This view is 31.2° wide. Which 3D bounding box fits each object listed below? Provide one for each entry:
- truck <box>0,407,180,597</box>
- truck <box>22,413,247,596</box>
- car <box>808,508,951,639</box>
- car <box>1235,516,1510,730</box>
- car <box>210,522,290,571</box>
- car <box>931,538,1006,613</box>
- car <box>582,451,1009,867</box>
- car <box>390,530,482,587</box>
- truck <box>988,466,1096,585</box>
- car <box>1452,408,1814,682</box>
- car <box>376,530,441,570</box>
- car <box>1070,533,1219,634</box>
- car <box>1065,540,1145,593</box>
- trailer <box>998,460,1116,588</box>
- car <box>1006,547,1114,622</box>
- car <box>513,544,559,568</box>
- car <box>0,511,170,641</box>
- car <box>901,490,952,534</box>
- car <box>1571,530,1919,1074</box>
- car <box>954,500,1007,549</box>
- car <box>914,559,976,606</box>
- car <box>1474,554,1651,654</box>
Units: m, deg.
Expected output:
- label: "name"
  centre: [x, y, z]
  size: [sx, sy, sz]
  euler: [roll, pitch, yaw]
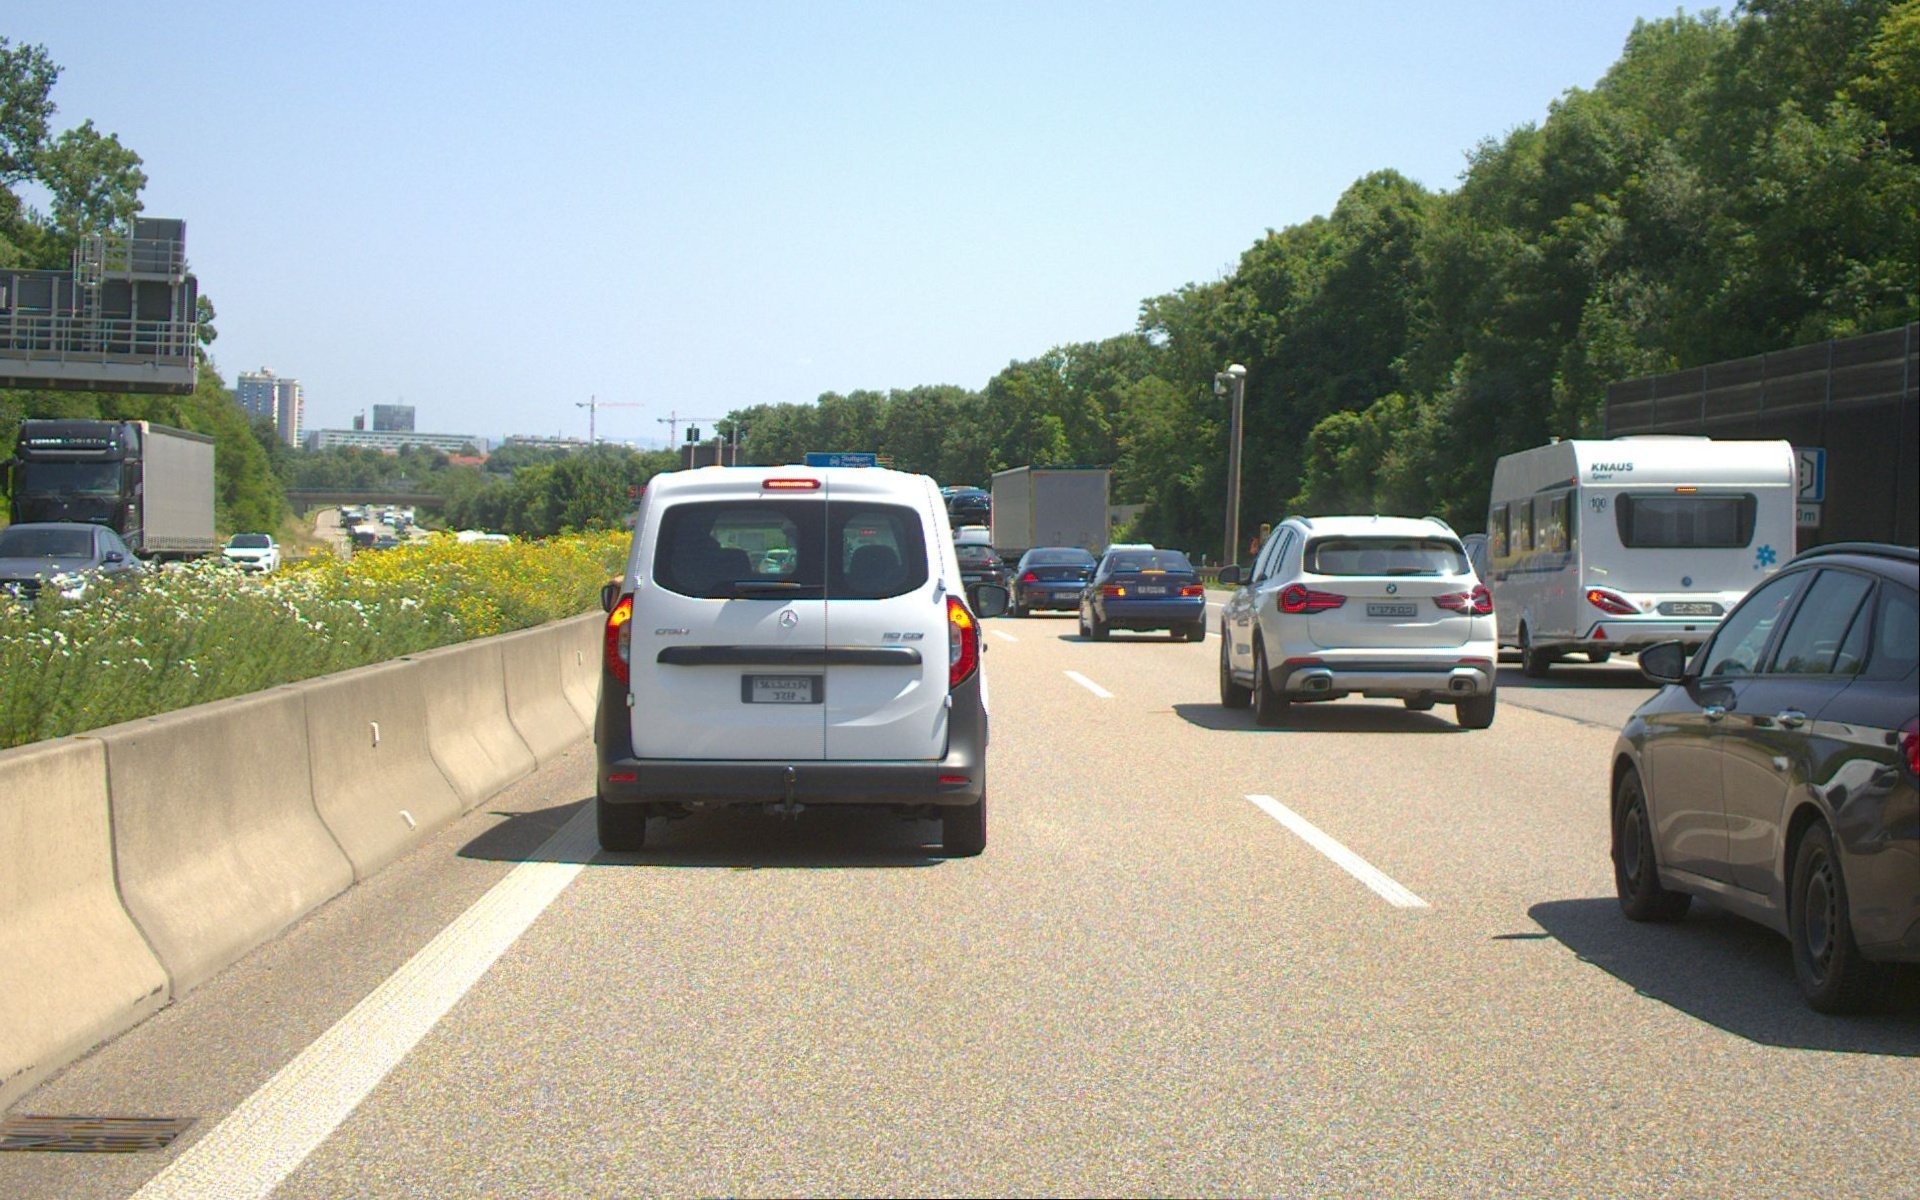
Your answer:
- label: "truck"
  centre: [-18.935, -2.103, 74.895]
  size: [2.828, 3.925, 6.008]
  euler: [1, 1, -4]
- label: "truck"
  centre: [-19.350, -2.197, 81.523]
  size: [2.828, 3.925, 13.747]
  euler: [1, 1, -4]
- label: "car"
  centre: [-1.233, -0.405, 50.937]
  size: [1.993, 1.853, 4.001]
  euler: [1, 1, -3]
- label: "car"
  centre: [3.316, 0.131, 28.322]
  size: [1.871, 1.603, 3.879]
  euler: [1, 1, 2]
- label: "car"
  centre: [-25.321, -1.913, 122.700]
  size: [1.993, 1.686, 4.768]
  euler: [1, 1, -2]
- label: "car"
  centre: [0.223, -0.669, 93.634]
  size: [1.824, 1.982, 4.001]
  euler: [1, 1, -3]
- label: "car"
  centre: [-0.696, 0.219, 17.098]
  size: [1.802, 1.802, 4.000]
  euler: [1, 1, 2]
- label: "car"
  centre: [-14.443, -1.155, 94.960]
  size: [1.993, 1.493, 4.248]
  euler: [1, 1, -2]
- label: "truck"
  centre: [2.794, -2.591, 120.584]
  size: [3.081, 3.972, 9.647]
  euler: [1, 1, -3]
- label: "car"
  centre: [7.282, -0.600, 38.000]
  size: [2.478, 2.756, 6.220]
  euler: [1, 1, -3]
- label: "car"
  centre: [-21.146, -1.913, 131.917]
  size: [1.993, 1.486, 4.000]
  euler: [1, 1, -2]
- label: "car"
  centre: [2.716, -0.263, 51.369]
  size: [1.824, 1.419, 4.001]
  euler: [1, 1, -3]
- label: "car"
  centre: [3.944, -0.921, 93.882]
  size: [1.824, 1.419, 4.001]
  euler: [1, 1, -3]
- label: "trailer"
  centre: [3.122, -2.459, 113.330]
  size: [3.081, 3.972, 10.324]
  euler: [1, 1, -3]
- label: "car"
  centre: [1.960, -0.323, 68.419]
  size: [1.824, 1.419, 4.001]
  euler: [1, 1, -3]
- label: "car"
  centre: [-21.542, -2.254, 174.769]
  size: [1.993, 1.174, 4.065]
  euler: [1, 1, -2]
- label: "car"
  centre: [-12.027, -0.345, 45.877]
  size: [1.993, 1.622, 4.475]
  euler: [1, 1, -1]
- label: "car"
  centre: [-1.593, -4.143, 162.012]
  size: [1.993, 2.007, 4.001]
  euler: [0, 1, -6]
- label: "car"
  centre: [3.525, 0.540, 11.883]
  size: [1.838, 1.508, 4.402]
  euler: [1, 1, -2]
- label: "car"
  centre: [0.847, -3.157, 144.734]
  size: [1.993, 2.007, 4.001]
  euler: [0, 1, -2]
- label: "car"
  centre: [-0.496, -0.581, 110.149]
  size: [1.824, 1.442, 4.001]
  euler: [1, 1, -3]
- label: "car"
  centre: [8.986, 0.037, 51.556]
  size: [1.824, 1.419, 4.000]
  euler: [1, 1, -2]
